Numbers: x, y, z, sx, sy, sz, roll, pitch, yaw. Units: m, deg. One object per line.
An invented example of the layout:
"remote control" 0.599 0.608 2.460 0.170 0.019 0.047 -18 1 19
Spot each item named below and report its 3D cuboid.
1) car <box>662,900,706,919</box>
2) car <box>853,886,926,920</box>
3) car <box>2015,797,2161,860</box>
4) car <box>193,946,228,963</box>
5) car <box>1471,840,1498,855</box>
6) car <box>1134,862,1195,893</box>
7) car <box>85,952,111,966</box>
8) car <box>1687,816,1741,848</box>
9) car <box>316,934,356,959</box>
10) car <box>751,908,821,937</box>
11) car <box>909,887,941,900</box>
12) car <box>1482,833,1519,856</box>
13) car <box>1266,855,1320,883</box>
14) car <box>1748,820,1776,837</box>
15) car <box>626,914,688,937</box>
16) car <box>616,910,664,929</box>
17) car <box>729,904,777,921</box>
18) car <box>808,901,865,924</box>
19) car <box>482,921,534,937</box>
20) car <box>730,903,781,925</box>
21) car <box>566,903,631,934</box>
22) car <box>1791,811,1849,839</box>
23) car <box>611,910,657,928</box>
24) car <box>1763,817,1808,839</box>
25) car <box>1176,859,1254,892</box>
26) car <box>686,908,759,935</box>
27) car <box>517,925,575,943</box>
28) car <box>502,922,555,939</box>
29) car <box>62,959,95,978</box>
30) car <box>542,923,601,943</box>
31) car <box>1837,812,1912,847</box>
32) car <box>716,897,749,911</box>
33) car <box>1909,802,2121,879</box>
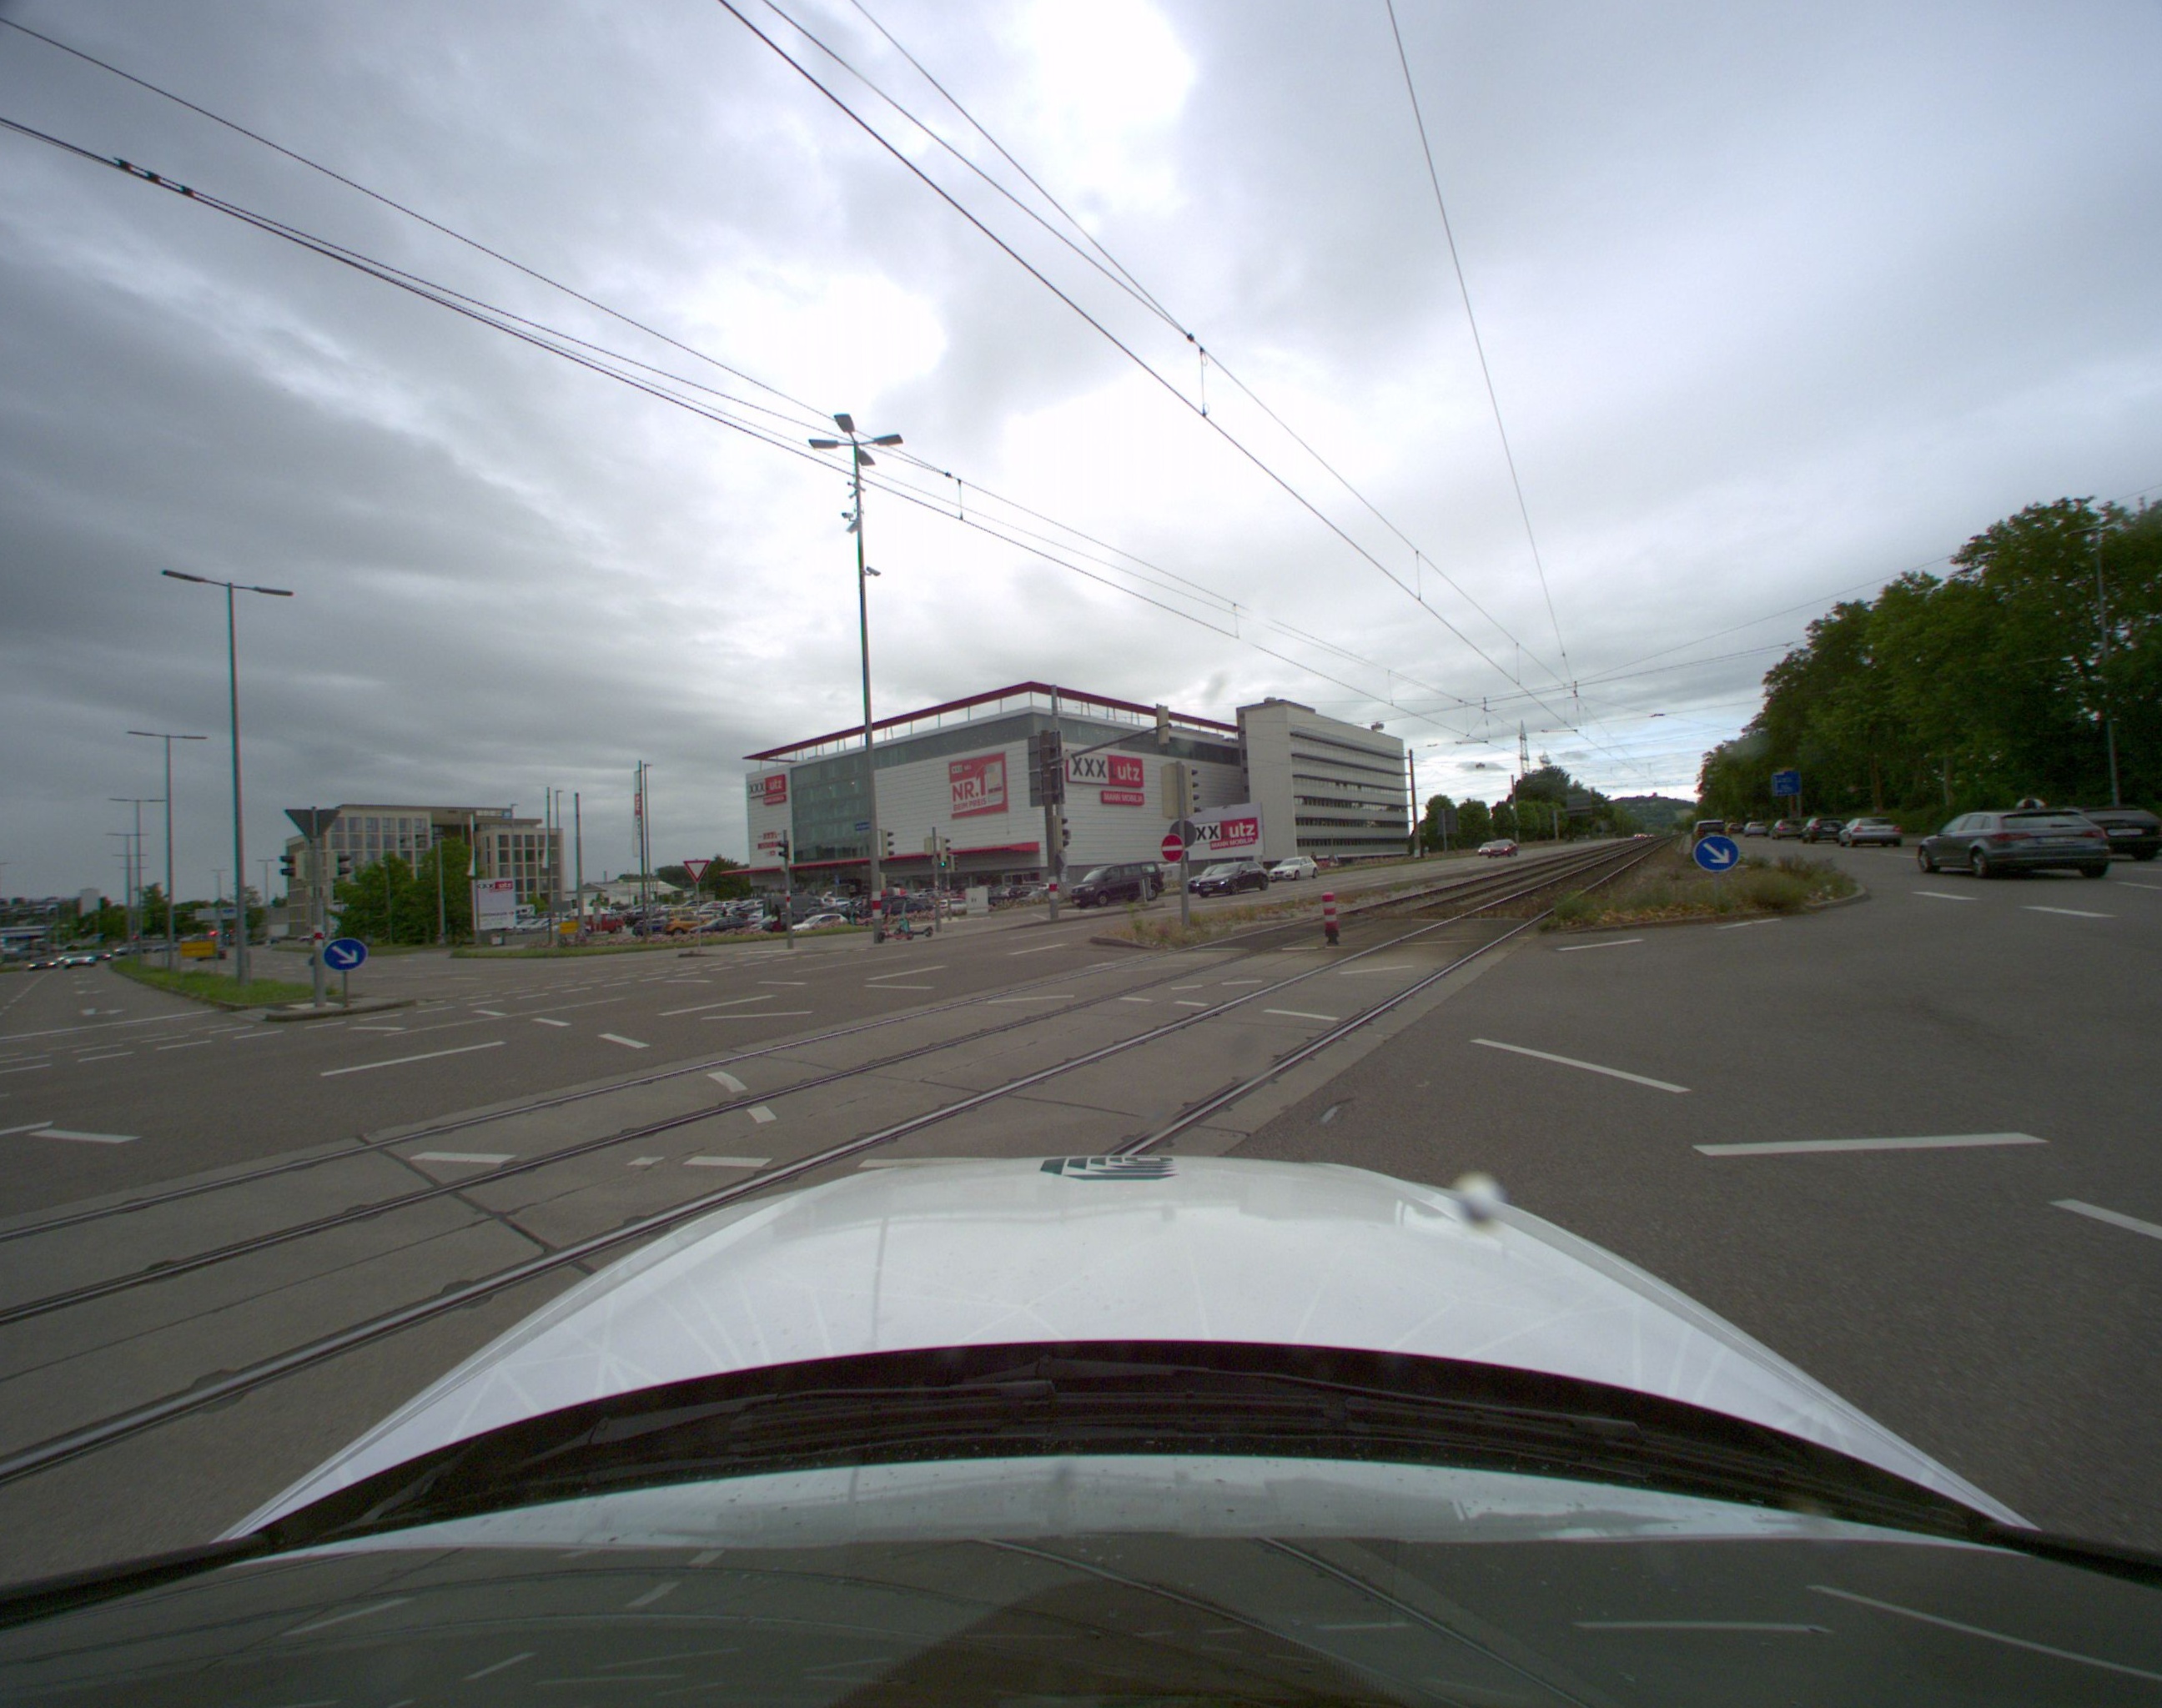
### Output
"car" -41.448 5.753 85.086 1.711 1.768 3.772 -3 -1 41
"car" -14.885 3.786 63.542 2.095 2.165 5.082 -6 -2 44
"car" 27.022 -0.712 21.820 1.718 1.479 4.347 -3 1 37
"car" -87.407 10.104 81.760 4.186 1.428 2.007 -7 -4 38
"car" 45.808 -0.794 92.440 1.724 1.602 4.101 -3 -1 40
"car" 8.824 2.439 85.406 2.733 2.989 6.994 -3 -1 40
"car" -123.968 13.223 102.663 4.381 1.486 1.950 -6 -1 38
"car" 36.929 -1.276 47.606 1.814 1.636 4.344 -4 -1 30
"car" -63.449 7.858 69.336 4.126 1.752 2.012 -3 -1 41
"car" -20.072 4.640 55.597 1.747 1.583 4.131 -4 -2 40
"car" -20.930 5.263 109.349 1.807 1.554 3.829 -3 -1 39
"car" 35.640 -0.795 69.095 1.974 1.728 4.026 -5 -1 38
"car" 13.387 0.914 51.304 1.711 1.539 4.072 -3 0 39
"car" 67.034 -2.510 80.189 1.797 1.480 3.695 -3 -1 35
"car" -34.514 5.836 66.377 1.791 1.455 4.025 -6 -3 40
"car" -49.263 7.322 90.999 1.864 1.744 4.353 -3 -1 42
"car" -34.417 6.140 85.565 1.717 1.469 4.279 -3 -1 41
"car" -20.335 4.871 67.838 4.024 1.556 1.923 -2 -3 -45
"car" -61.353 8.012 87.203 1.786 1.350 4.192 -3 -1 38
"car" -30.310 5.613 75.865 1.808 1.654 3.929 -4 0 38
"car" -45.367 6.035 76.637 2.142 2.579 4.768 -3 -1 41
"car" 44.488 -1.685 49.124 1.838 1.561 4.345 -1 0 32
"car" -50.944 7.425 92.790 1.810 1.664 4.212 -6 -3 42
"car" 54.894 -1.996 63.546 1.839 1.561 4.344 -1 0 30
"car" 7.347 1.150 44.400 1.944 1.464 4.348 -5 -1 44
"car" -26.231 4.928 59.718 1.747 1.583 4.570 -3 -1 39
"car" -53.237 7.942 81.072 1.843 1.419 4.508 -3 -1 41
"car" -56.636 7.822 83.501 1.811 1.350 4.093 -3 -1 38
"car" -100.597 11.472 81.762 4.128 1.519 1.950 -6 -1 40
"car" -48.612 7.527 77.786 1.935 1.461 4.416 -3 -1 41
"car" 37.852 -1.189 38.941 1.711 1.509 3.656 -3 0 31
"car" -46.802 6.715 109.478 1.717 1.587 3.602 -6 -3 44
"car" 19.984 -0.286 17.673 1.721 1.401 4.103 -3 0 30
